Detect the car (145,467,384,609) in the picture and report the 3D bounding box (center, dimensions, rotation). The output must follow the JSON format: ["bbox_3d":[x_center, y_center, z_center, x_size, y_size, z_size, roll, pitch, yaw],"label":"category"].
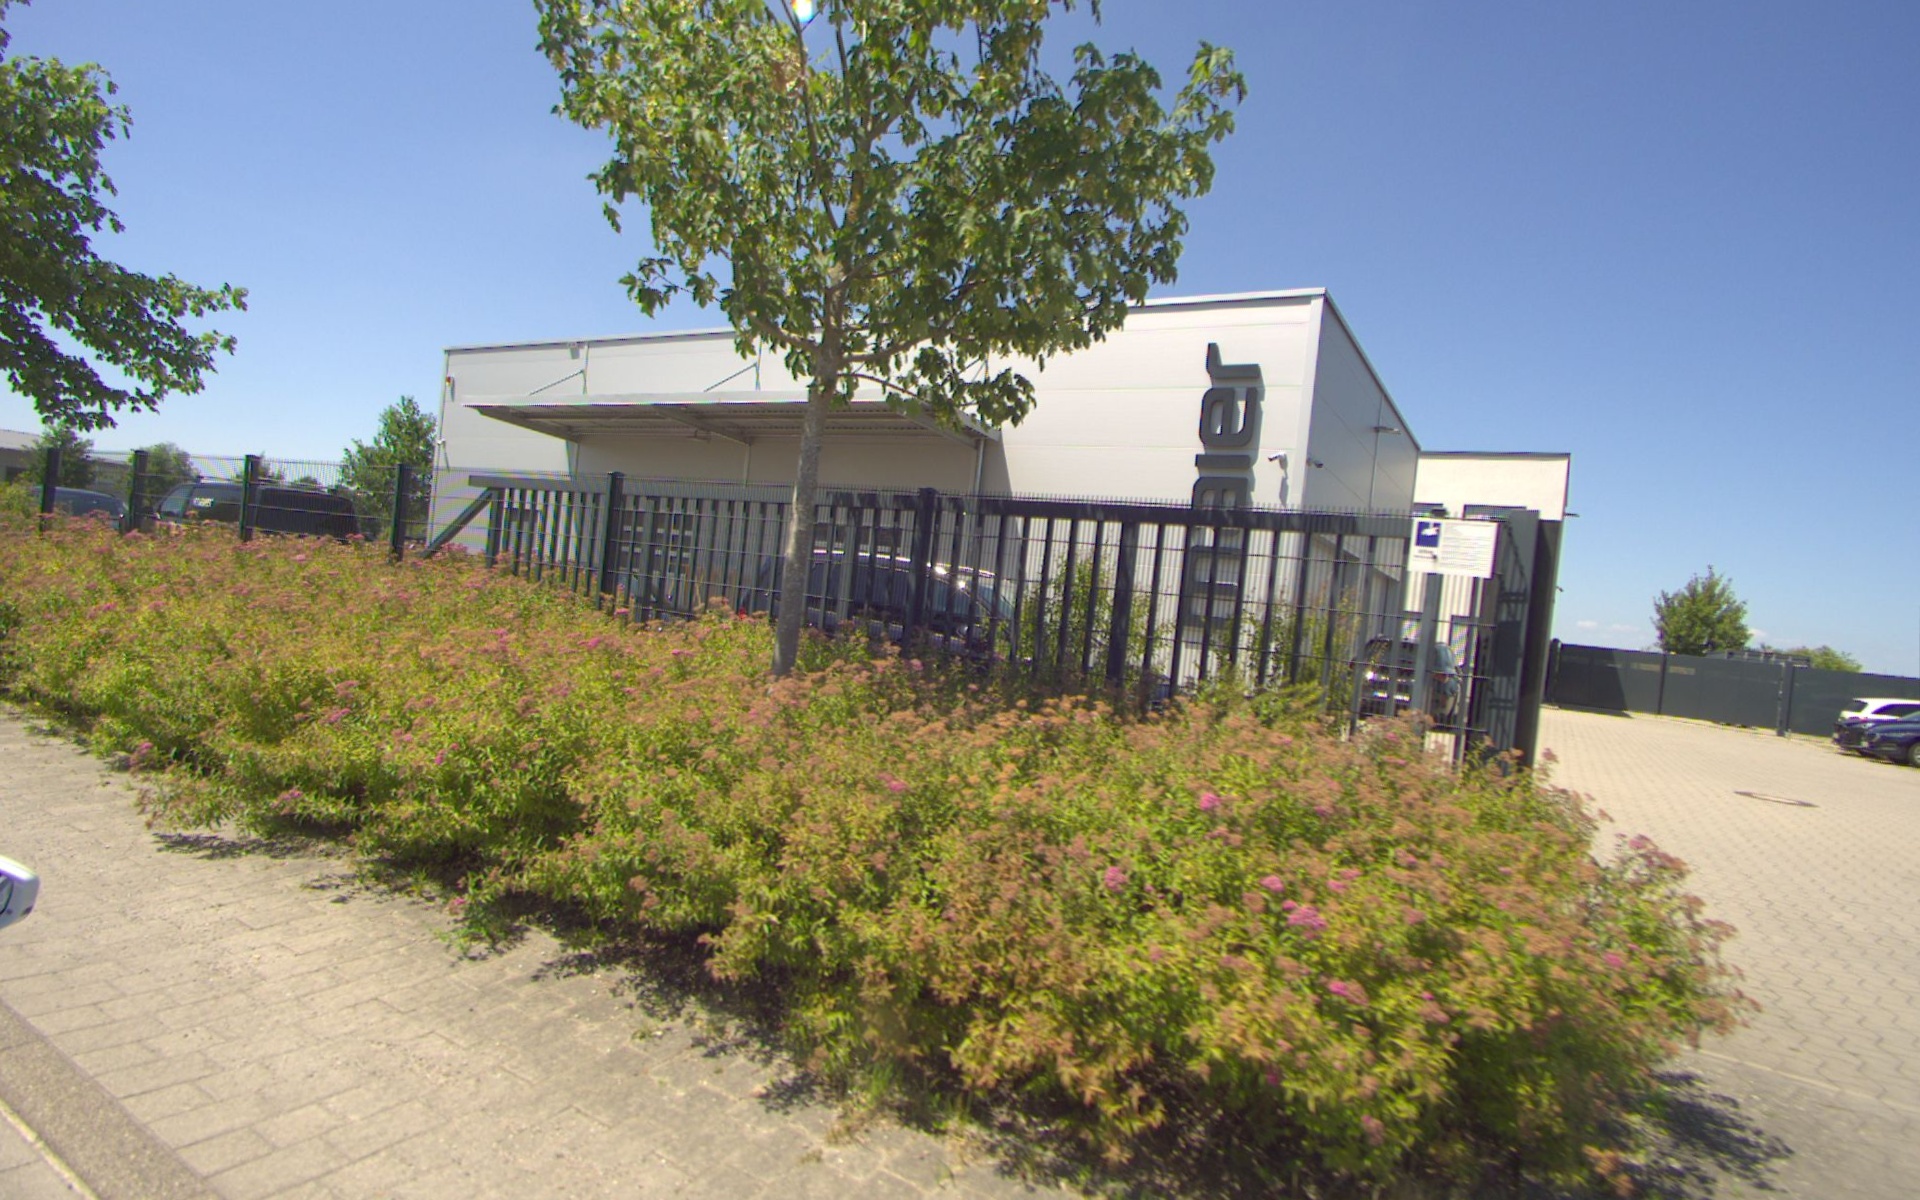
[{"bbox_3d":[-12.384,-1.112,17.856,4.155,2.114,1.878,6,1,31],"label":"car"}]

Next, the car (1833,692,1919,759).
[{"bbox_3d":[26.238,3.514,27.217,3.587,1.546,1.527,6,0,30],"label":"car"}]

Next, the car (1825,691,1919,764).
[{"bbox_3d":[24.165,3.293,25.085,3.587,1.546,1.527,6,0,30],"label":"car"}]

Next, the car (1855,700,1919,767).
[{"bbox_3d":[23.040,3.227,22.942,3.587,1.366,1.527,6,0,30],"label":"car"}]

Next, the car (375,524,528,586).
[{"bbox_3d":[-16.356,-1.425,32.564,1.819,1.504,3.991,6,0,30],"label":"car"}]

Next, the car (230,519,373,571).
[{"bbox_3d":[-24.176,-2.001,37.067,1.788,1.421,3.991,6,0,30],"label":"car"}]

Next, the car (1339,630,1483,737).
[{"bbox_3d":[7.847,1.373,17.305,1.676,1.397,3.991,9,2,31],"label":"car"}]

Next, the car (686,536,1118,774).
[{"bbox_3d":[-0.579,0.404,9.414,3.517,1.572,1.810,7,2,31],"label":"car"}]

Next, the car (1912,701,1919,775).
[{"bbox_3d":[20.504,2.656,18.384,4.057,1.870,1.750,6,1,30],"label":"car"}]
